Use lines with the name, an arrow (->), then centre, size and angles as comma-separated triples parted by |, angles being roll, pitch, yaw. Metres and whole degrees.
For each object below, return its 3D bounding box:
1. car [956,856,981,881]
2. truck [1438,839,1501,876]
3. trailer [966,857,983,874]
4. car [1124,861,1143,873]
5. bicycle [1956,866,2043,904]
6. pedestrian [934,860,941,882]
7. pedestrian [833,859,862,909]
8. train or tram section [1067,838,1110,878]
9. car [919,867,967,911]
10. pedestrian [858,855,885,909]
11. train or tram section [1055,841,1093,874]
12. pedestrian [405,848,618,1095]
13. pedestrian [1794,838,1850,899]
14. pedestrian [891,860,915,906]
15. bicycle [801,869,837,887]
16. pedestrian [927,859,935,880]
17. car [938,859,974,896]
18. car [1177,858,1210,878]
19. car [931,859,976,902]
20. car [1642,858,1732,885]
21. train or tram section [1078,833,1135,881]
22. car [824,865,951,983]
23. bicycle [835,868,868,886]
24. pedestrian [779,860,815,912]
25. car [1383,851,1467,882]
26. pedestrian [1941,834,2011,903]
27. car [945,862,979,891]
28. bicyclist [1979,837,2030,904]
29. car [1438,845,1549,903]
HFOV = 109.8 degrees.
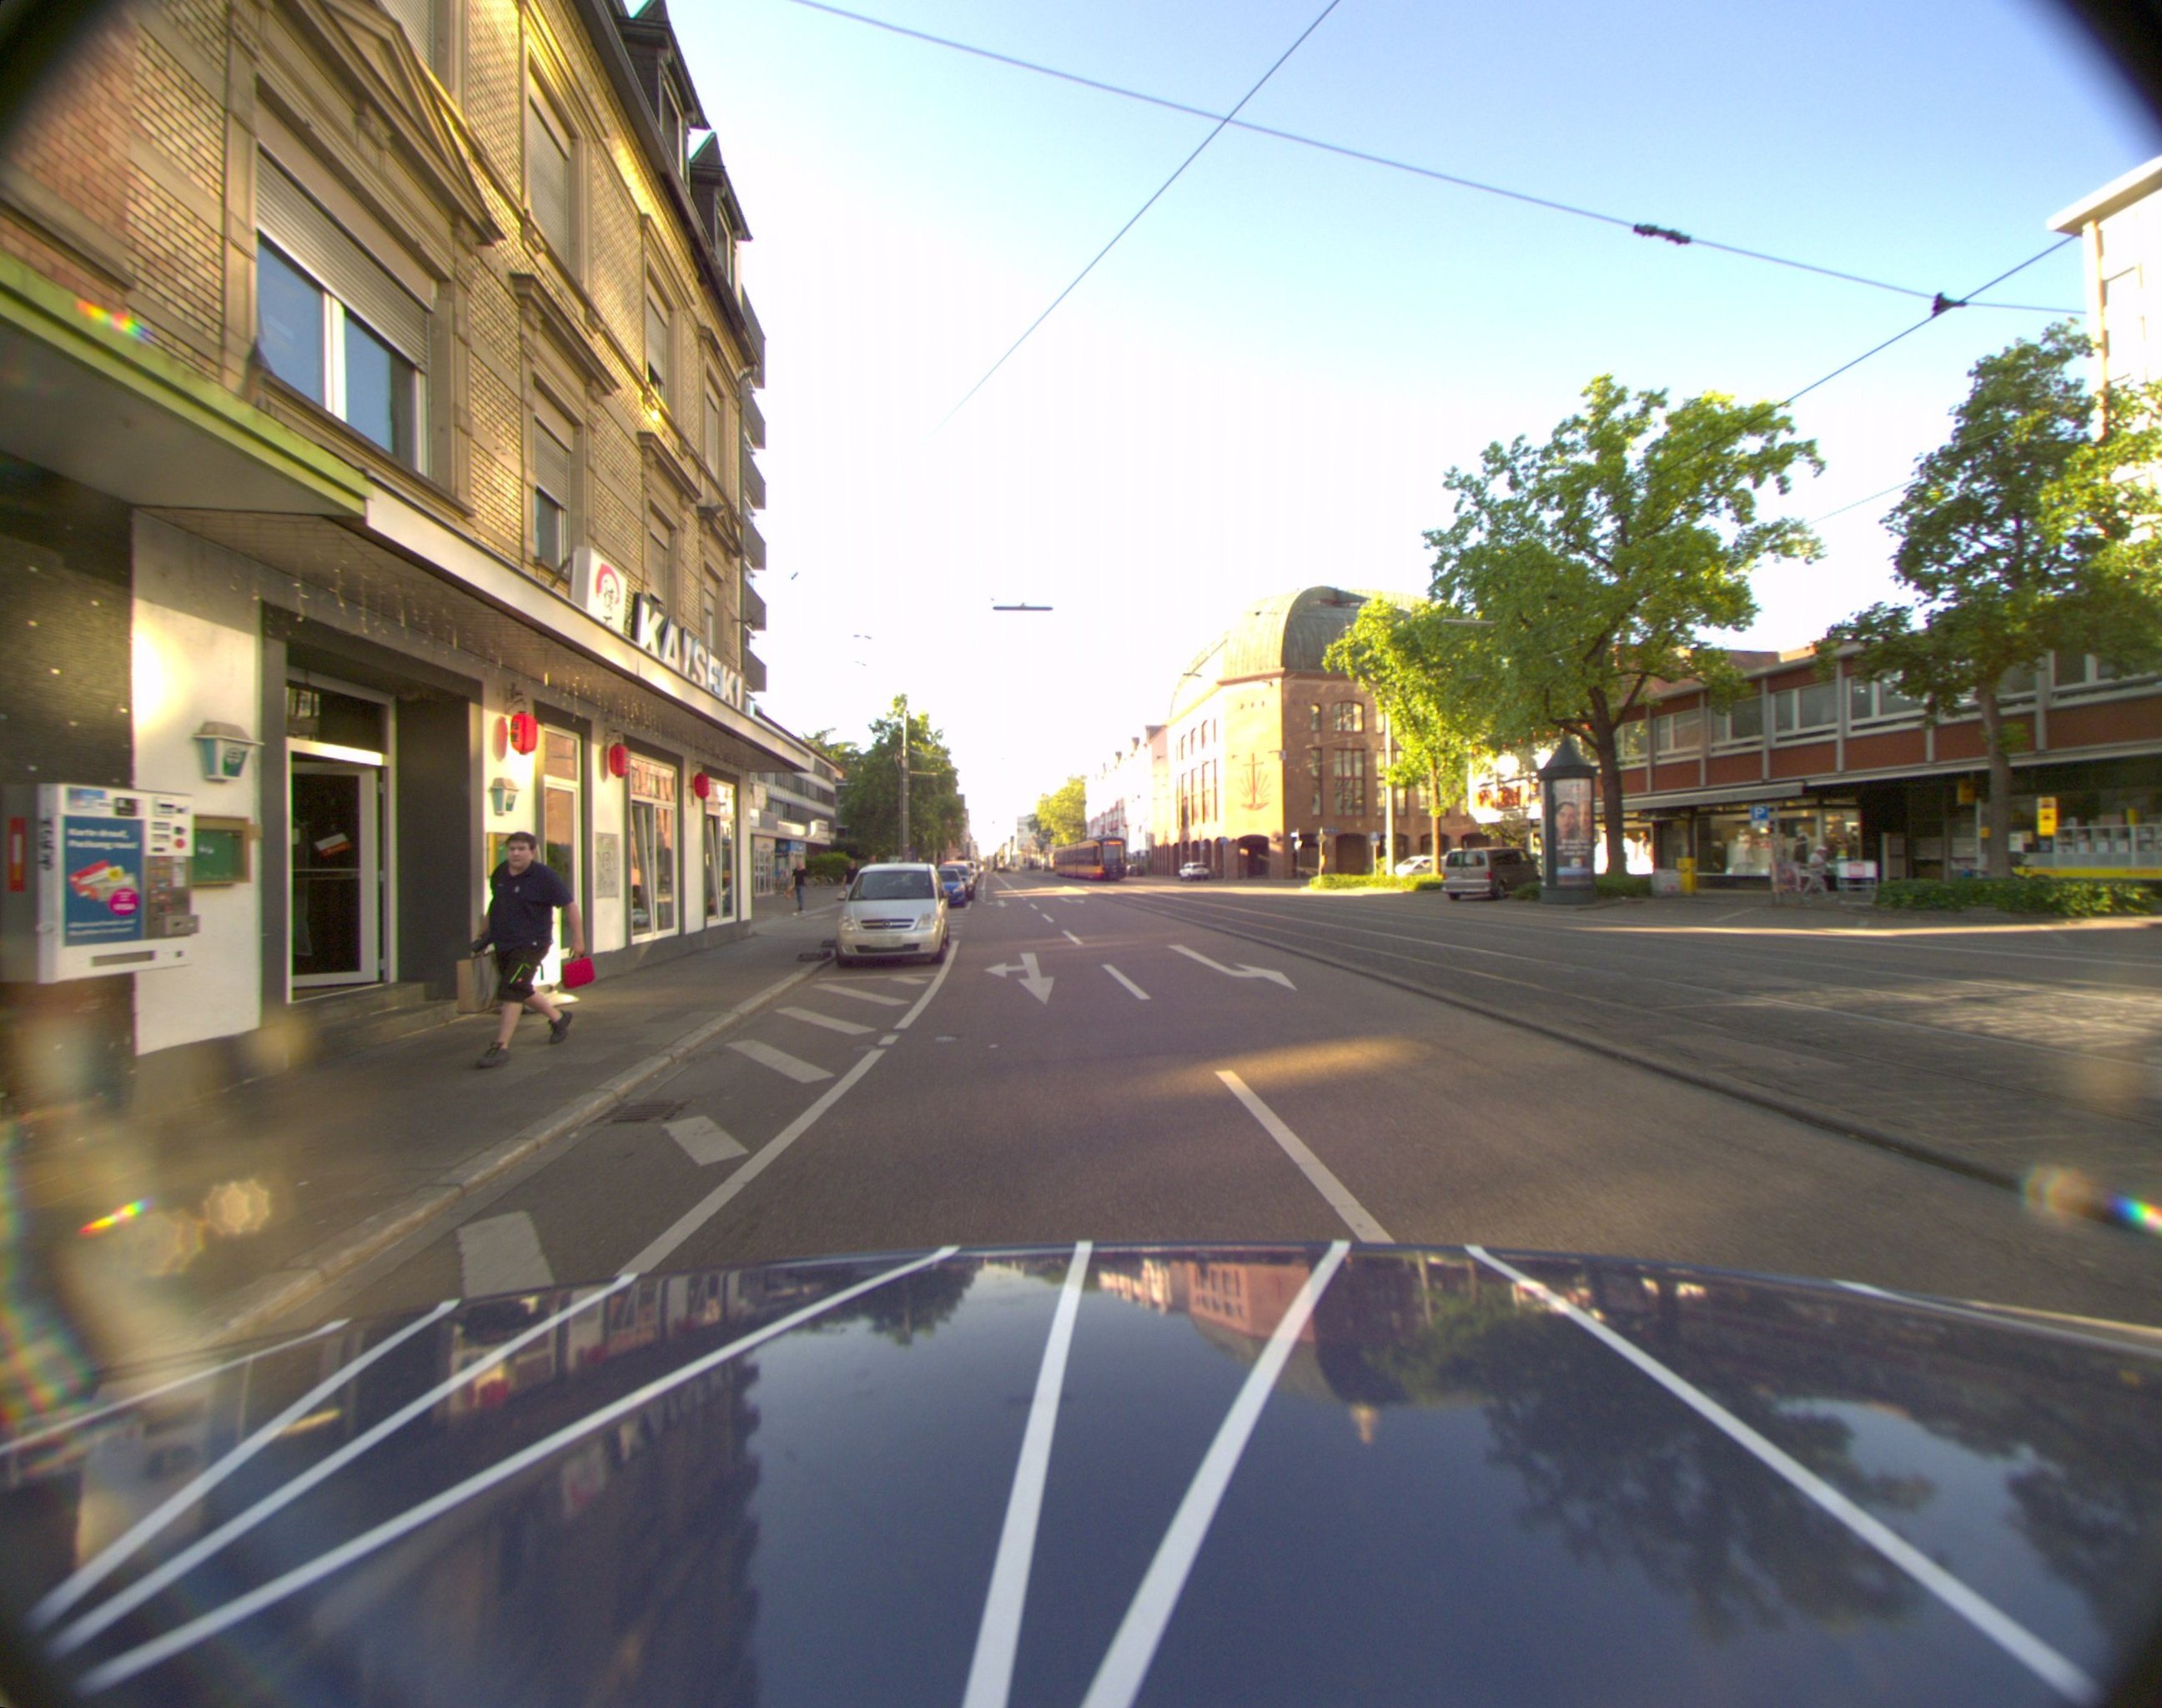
car -> -9.477, 1.213, 64.346 | 1.883, 2.009, 4.902 | -2, 0, -7
truck -> 29.669, 0.276, 58.167 | 1.857, 2.747, 4.527 | -1, 0, -11
trailer -> -13.817, 1.440, 98.624 | 1.785, 2.136, 5.313 | -2, 0, -5
car -> 6.391, 1.550, 93.257 | 1.647, 1.392, 3.681 | -2, 0, -6
bicycle -> 25.492, 0.840, 21.115 | 0.493, 1.019, 1.493 | -1, 0, -33
pedestrian -> -11.428, 1.347, 60.666 | 0.494, 1.703, 0.437 | 2, 0, -8
pedestrian -> -8.292, 1.055, 27.046 | 0.813, 1.746, 1.032 | 0, 0, -7
train or tram section -> 0.551, 0.376, 74.009 | 2.684, 3.530, 11.119 | 0, 0, -7
car -> -5.311, 1.302, 29.613 | 1.643, 1.484, 3.792 | -3, 0, -8
pedestrian -> -7.515, 0.996, 27.343 | 0.796, 1.888, 1.032 | 0, 0, -7
train or tram section -> -0.943, 0.371, 85.693 | 2.767, 3.530, 12.459 | 0, 0, -7
pedestrian -> -4.452, 0.853, 6.049 | 0.949, 1.782, 1.054 | 0, 0, -8
pedestrian -> 23.109, 0.444, 23.716 | 0.920, 1.867, 0.899 | -1, 0, -15
pedestrian -> -6.906, 1.119, 29.536 | 0.790, 1.727, 0.945 | -1, 0, -7
bicycle -> -16.037, 1.464, 46.538 | 2.021, 1.089, 0.637 | 1, -1, -14
pedestrian -> -11.976, 1.234, 60.656 | 0.494, 1.703, 0.437 | 2, 0, -8
car -> -6.492, 1.181, 39.848 | 1.680, 1.797, 4.246 | -2, 0, -8
car -> 9.853, 1.194, 66.732 | 1.600, 1.581, 4.274 | -3, 0, -9
car -> -5.825, 1.167, 35.070 | 1.826, 1.747, 4.472 | -2, 1, -7
car -> 37.579, 1.054, 47.253 | 2.038, 1.568, 4.098 | 0, 0, -9
train or tram section -> 1.908, 0.234, 63.267 | 2.684, 3.530, 12.833 | 0, 0, -7
car -> -3.121, 1.036, 12.916 | 1.643, 1.605, 3.942 | -2, 0, -8
bicycle -> -14.427, 1.461, 47.788 | 1.887, 1.089, 0.469 | 0, 1, -9
pedestrian -> -9.649, 1.074, 25.861 | 0.903, 1.703, 1.032 | 2, 0, -7
car -> 24.043, 0.825, 53.183 | 4.995, 1.957, 2.130 | -1, 3, -9
pedestrian -> 24.807, 0.392, 21.071 | 0.919, 1.867, 0.899 | -1, 0, -9
car -> -7.125, 1.316, 45.805 | 1.792, 1.586, 4.324 | -2, 0, -6
bicyclist -> 25.548, 0.440, 21.018 | 0.493, 1.811, 0.826 | -1, 0, -33
car -> 15.974, 0.695, 29.281 | 5.131, 1.918, 1.849 | -3, 1, -38
